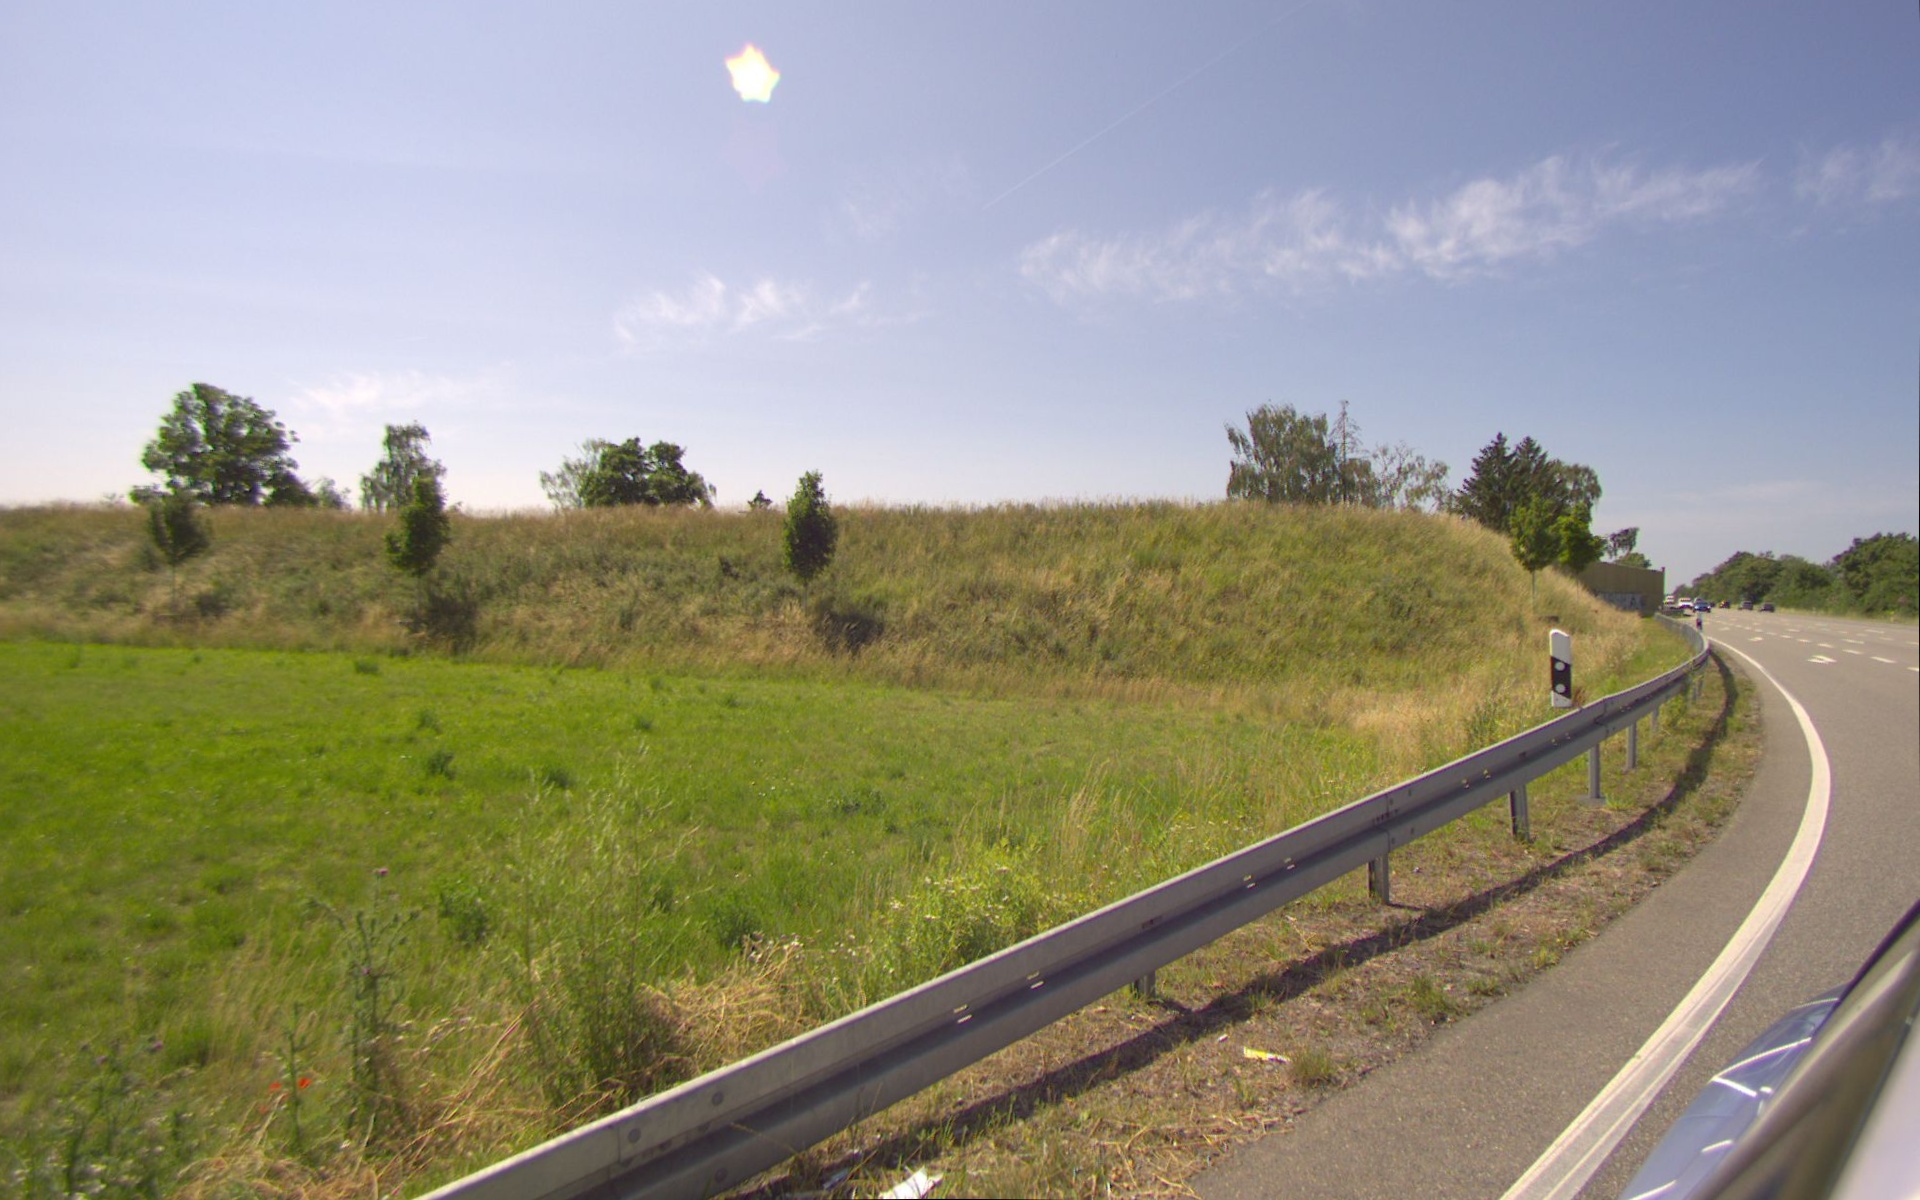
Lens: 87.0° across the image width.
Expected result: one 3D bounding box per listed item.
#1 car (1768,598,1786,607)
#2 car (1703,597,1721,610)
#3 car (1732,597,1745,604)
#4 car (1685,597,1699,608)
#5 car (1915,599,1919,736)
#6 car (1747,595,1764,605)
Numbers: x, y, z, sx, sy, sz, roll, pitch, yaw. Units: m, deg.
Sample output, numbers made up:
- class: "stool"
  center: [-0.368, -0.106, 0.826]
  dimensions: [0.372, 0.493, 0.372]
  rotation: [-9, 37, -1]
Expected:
- class: "car"
  center: [132.094, 0.327, 163.616]
  dimensions: [1.871, 1.416, 4.477]
  rotation: [0, 0, 33]
- class: "car"
  center: [99.245, 0.463, 133.587]
  dimensions: [1.791, 1.705, 3.949]
  rotation: [-1, 1, 36]
- class: "car"
  center: [154.427, 0.083, 200.779]
  dimensions: [1.638, 1.506, 3.516]
  rotation: [-1, 0, 33]
- class: "car"
  center: [122.170, 0.395, 168.825]
  dimensions: [1.791, 1.705, 3.950]
  rotation: [-1, 1, 35]
- class: "car"
  center: [9.779, 0.708, 8.619]
  dimensions: [1.884, 1.465, 4.465]
  rotation: [0, 0, 37]
- class: "car"
  center: [145.873, -0.054, 185.582]
  dimensions: [2.020, 1.660, 4.516]
  rotation: [2, 2, 33]
